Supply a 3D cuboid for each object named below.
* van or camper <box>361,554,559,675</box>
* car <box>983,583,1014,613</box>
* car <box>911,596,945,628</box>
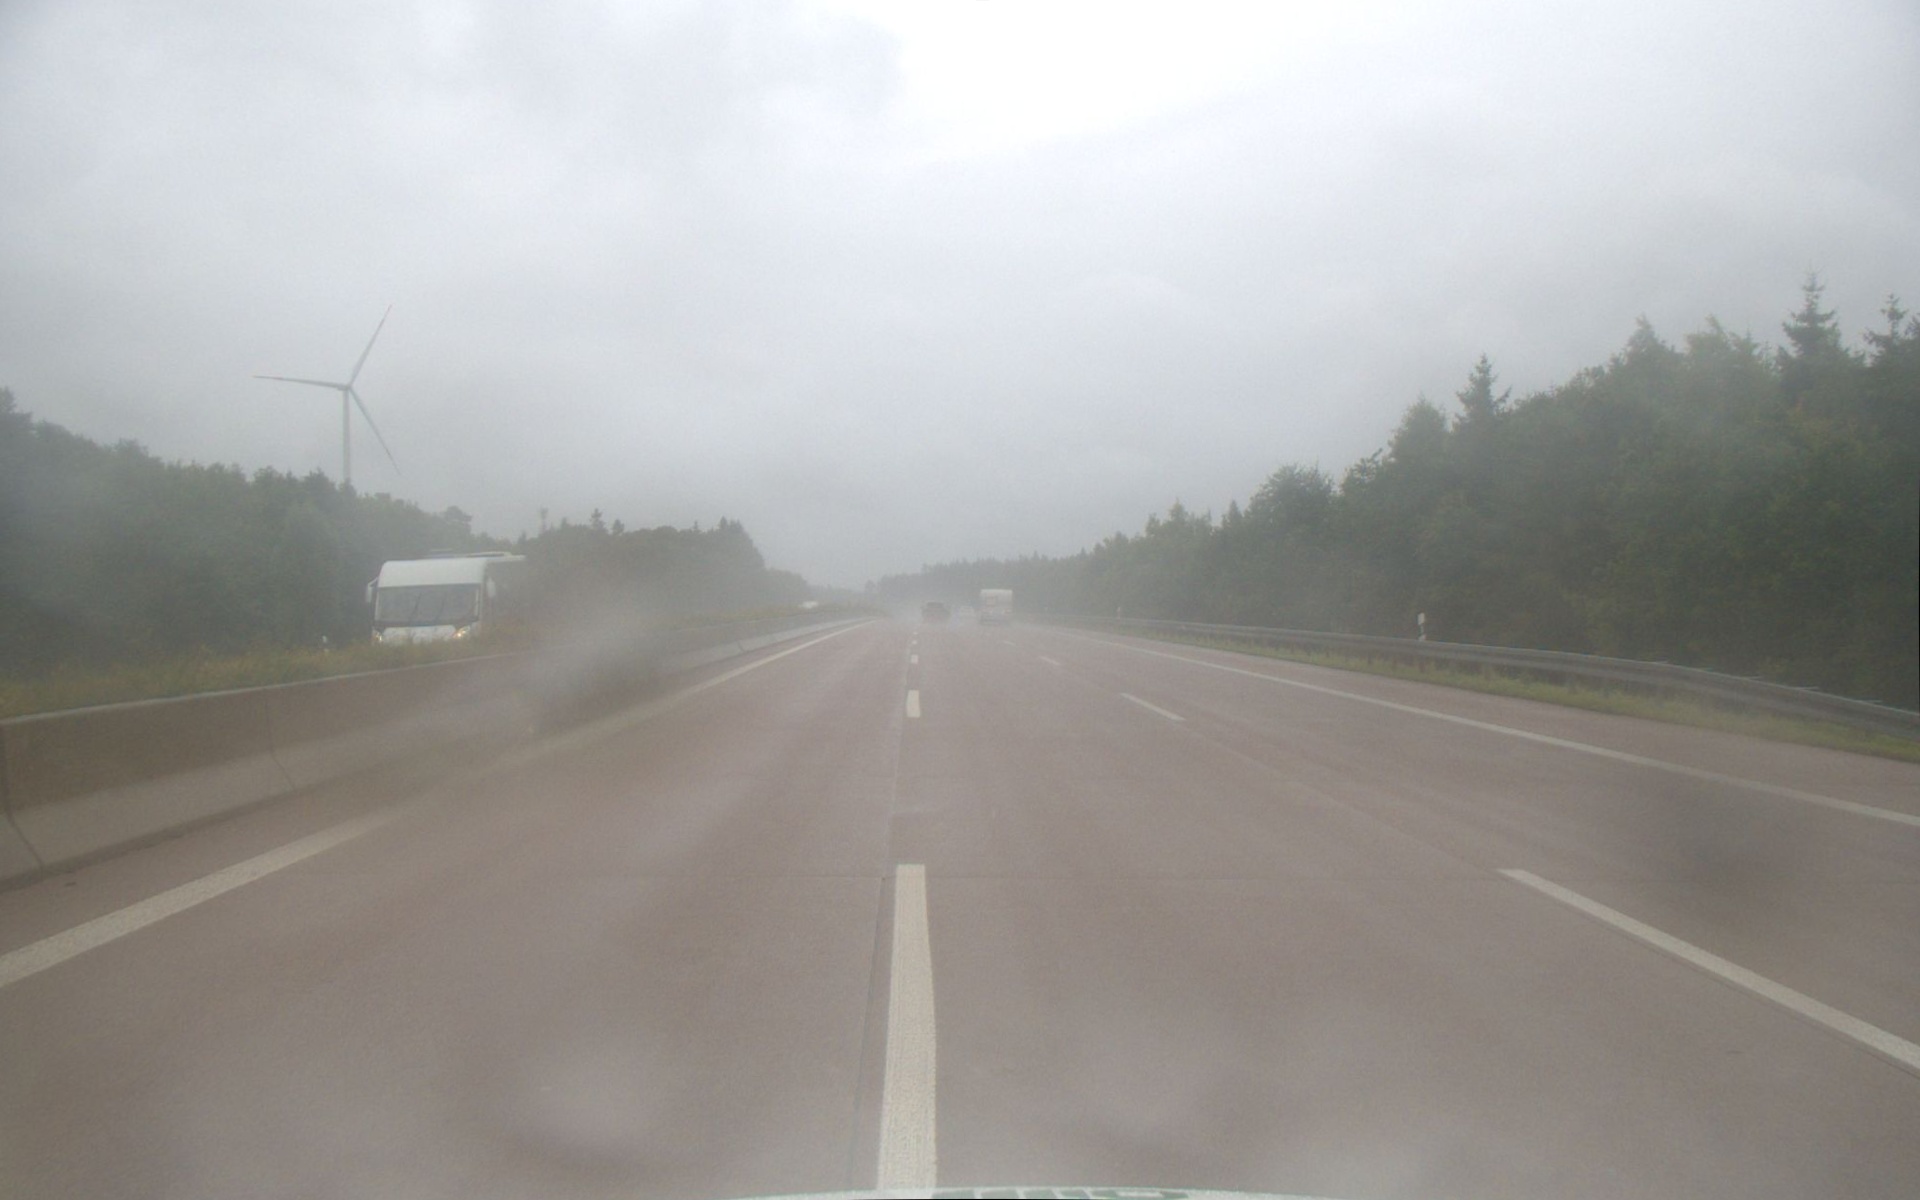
[{"bbox_3d":[-11.183,0.271,37.668,2.734,2.447,6.486,-2,1,-3],"label":"van or camper"},{"bbox_3d":[2.753,-0.165,119.208,2.016,2.034,4.098,3,0,-1],"label":"car"},{"bbox_3d":[-2.176,0.802,113.414,2.129,2.015,4.129,3,0,-1],"label":"car"}]
